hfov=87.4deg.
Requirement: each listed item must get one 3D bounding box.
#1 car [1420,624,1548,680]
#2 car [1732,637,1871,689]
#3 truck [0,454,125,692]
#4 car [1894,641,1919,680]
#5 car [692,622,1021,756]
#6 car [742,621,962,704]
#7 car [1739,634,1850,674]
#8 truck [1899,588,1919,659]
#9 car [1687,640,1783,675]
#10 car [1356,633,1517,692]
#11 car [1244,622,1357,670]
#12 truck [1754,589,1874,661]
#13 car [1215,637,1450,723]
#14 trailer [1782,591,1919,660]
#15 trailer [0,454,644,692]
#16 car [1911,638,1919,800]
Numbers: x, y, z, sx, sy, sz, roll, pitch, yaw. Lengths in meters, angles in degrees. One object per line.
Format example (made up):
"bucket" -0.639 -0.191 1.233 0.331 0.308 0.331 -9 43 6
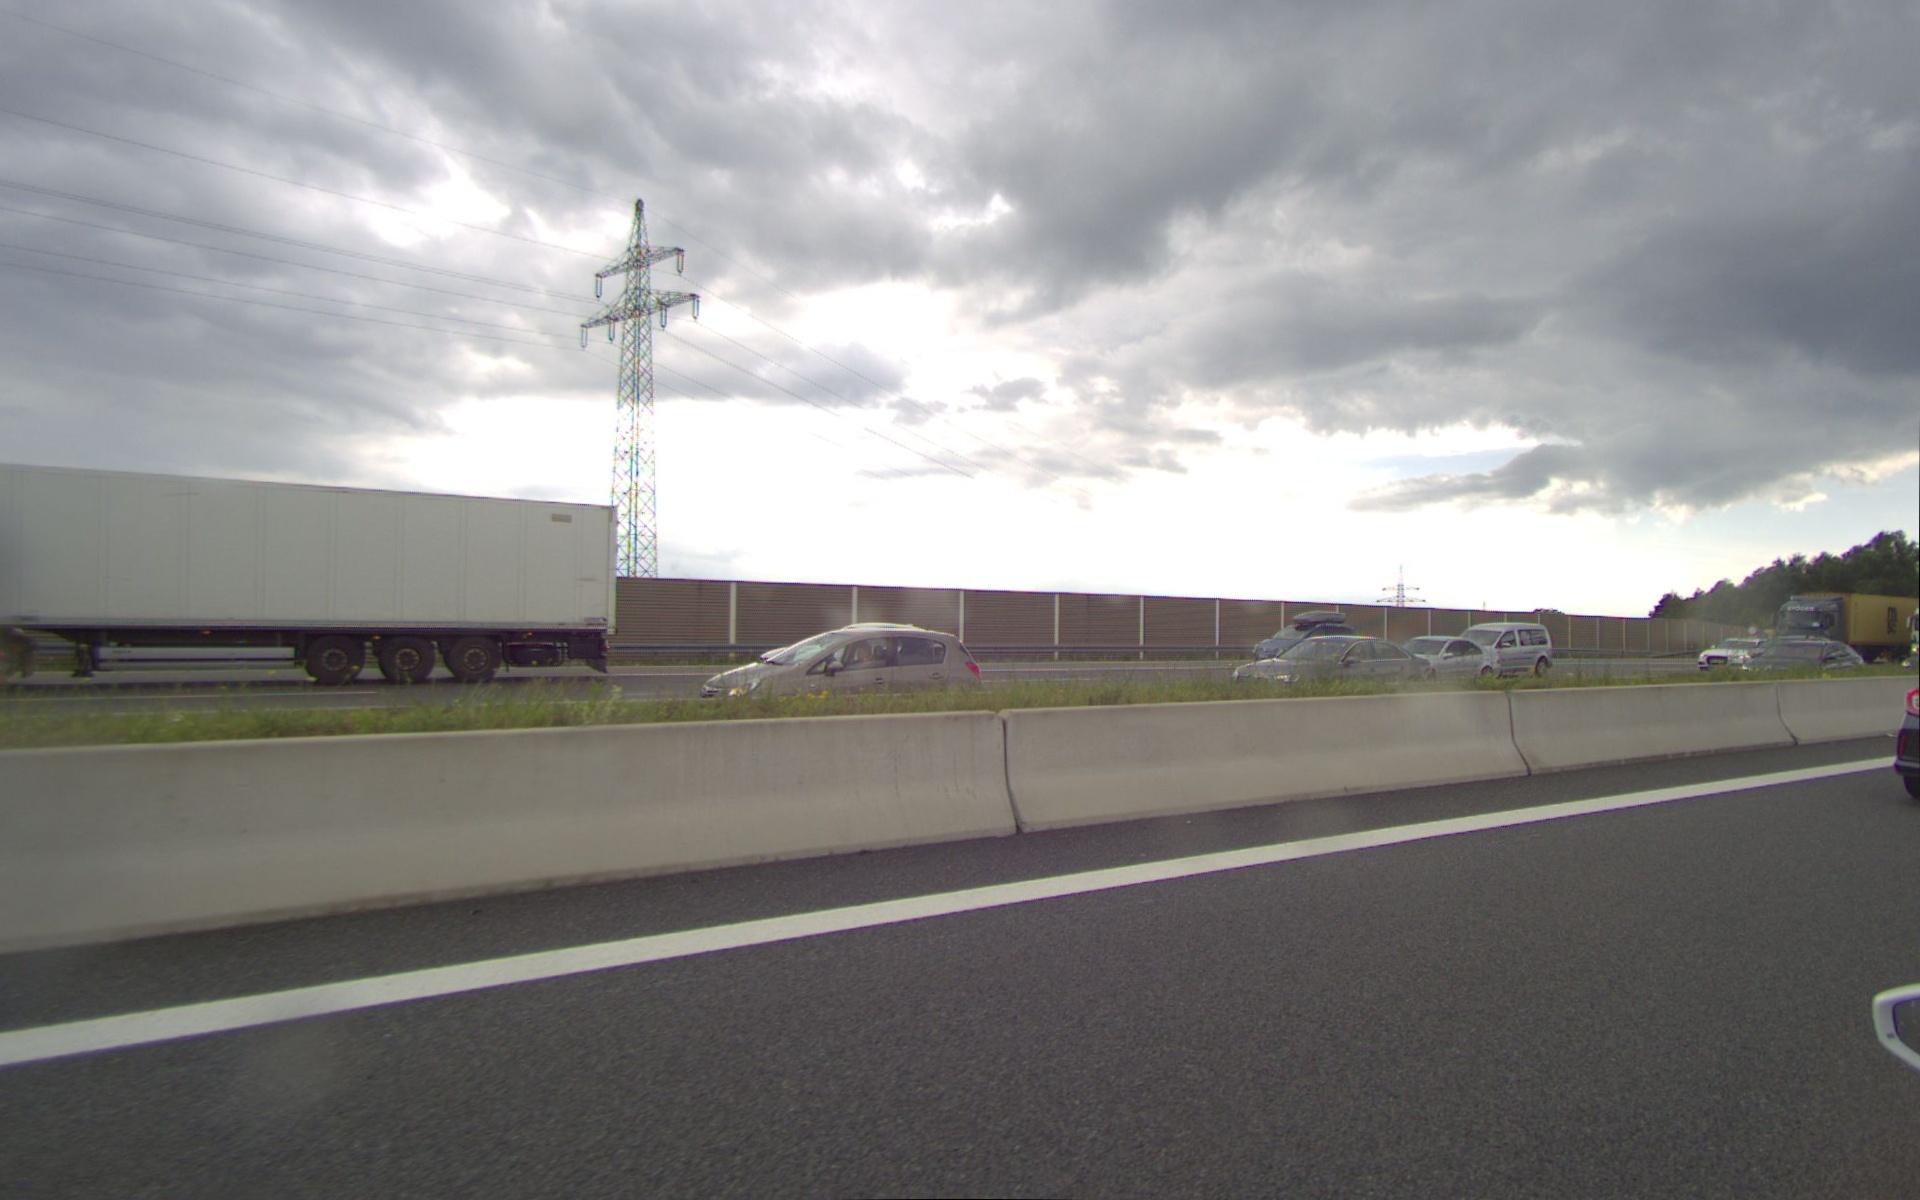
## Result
"car" 17.916 1.741 34.315 4.526 1.763 1.781 1 0 -31
"car" 25.559 1.858 30.467 4.806 1.400 1.778 1 0 -31
"truck" -19.306 -0.533 17.742 6.547 4.171 2.885 1 0 -31
"car" 37.124 2.282 37.747 4.537 1.400 1.778 1 0 -31
"car" -1.359 1.121 13.757 4.165 1.544 1.707 1 0 -31
"car" -2.341 1.327 22.219 4.530 1.612 1.778 1 0 -31
"car" 31.816 2.025 38.271 4.806 1.400 1.778 1 0 -31
"truck" 57.645 1.397 58.017 7.446 4.014 2.873 1 0 -30
"car" 34.258 2.510 44.379 4.806 1.400 1.778 1 0 -31
"car" 13.320 1.699 27.980 4.806 1.445 1.707 1 0 -31
"car" 12.395 1.657 36.497 3.911 1.619 1.778 1 0 -31
"truck" 50.560 1.526 59.417 7.618 3.985 3.016 2 -2 -30
"car" 7.347 1.488 19.639 4.806 1.445 1.707 1 0 -31
"trailer" 55.861 1.651 62.443 12.819 3.985 3.016 2 -2 -30
"trailer" -13.463 -0.385 21.332 12.555 4.171 2.885 1 0 -32
"car" 10.784 1.064 9.261 5.004 1.387 1.751 1 0 -32
